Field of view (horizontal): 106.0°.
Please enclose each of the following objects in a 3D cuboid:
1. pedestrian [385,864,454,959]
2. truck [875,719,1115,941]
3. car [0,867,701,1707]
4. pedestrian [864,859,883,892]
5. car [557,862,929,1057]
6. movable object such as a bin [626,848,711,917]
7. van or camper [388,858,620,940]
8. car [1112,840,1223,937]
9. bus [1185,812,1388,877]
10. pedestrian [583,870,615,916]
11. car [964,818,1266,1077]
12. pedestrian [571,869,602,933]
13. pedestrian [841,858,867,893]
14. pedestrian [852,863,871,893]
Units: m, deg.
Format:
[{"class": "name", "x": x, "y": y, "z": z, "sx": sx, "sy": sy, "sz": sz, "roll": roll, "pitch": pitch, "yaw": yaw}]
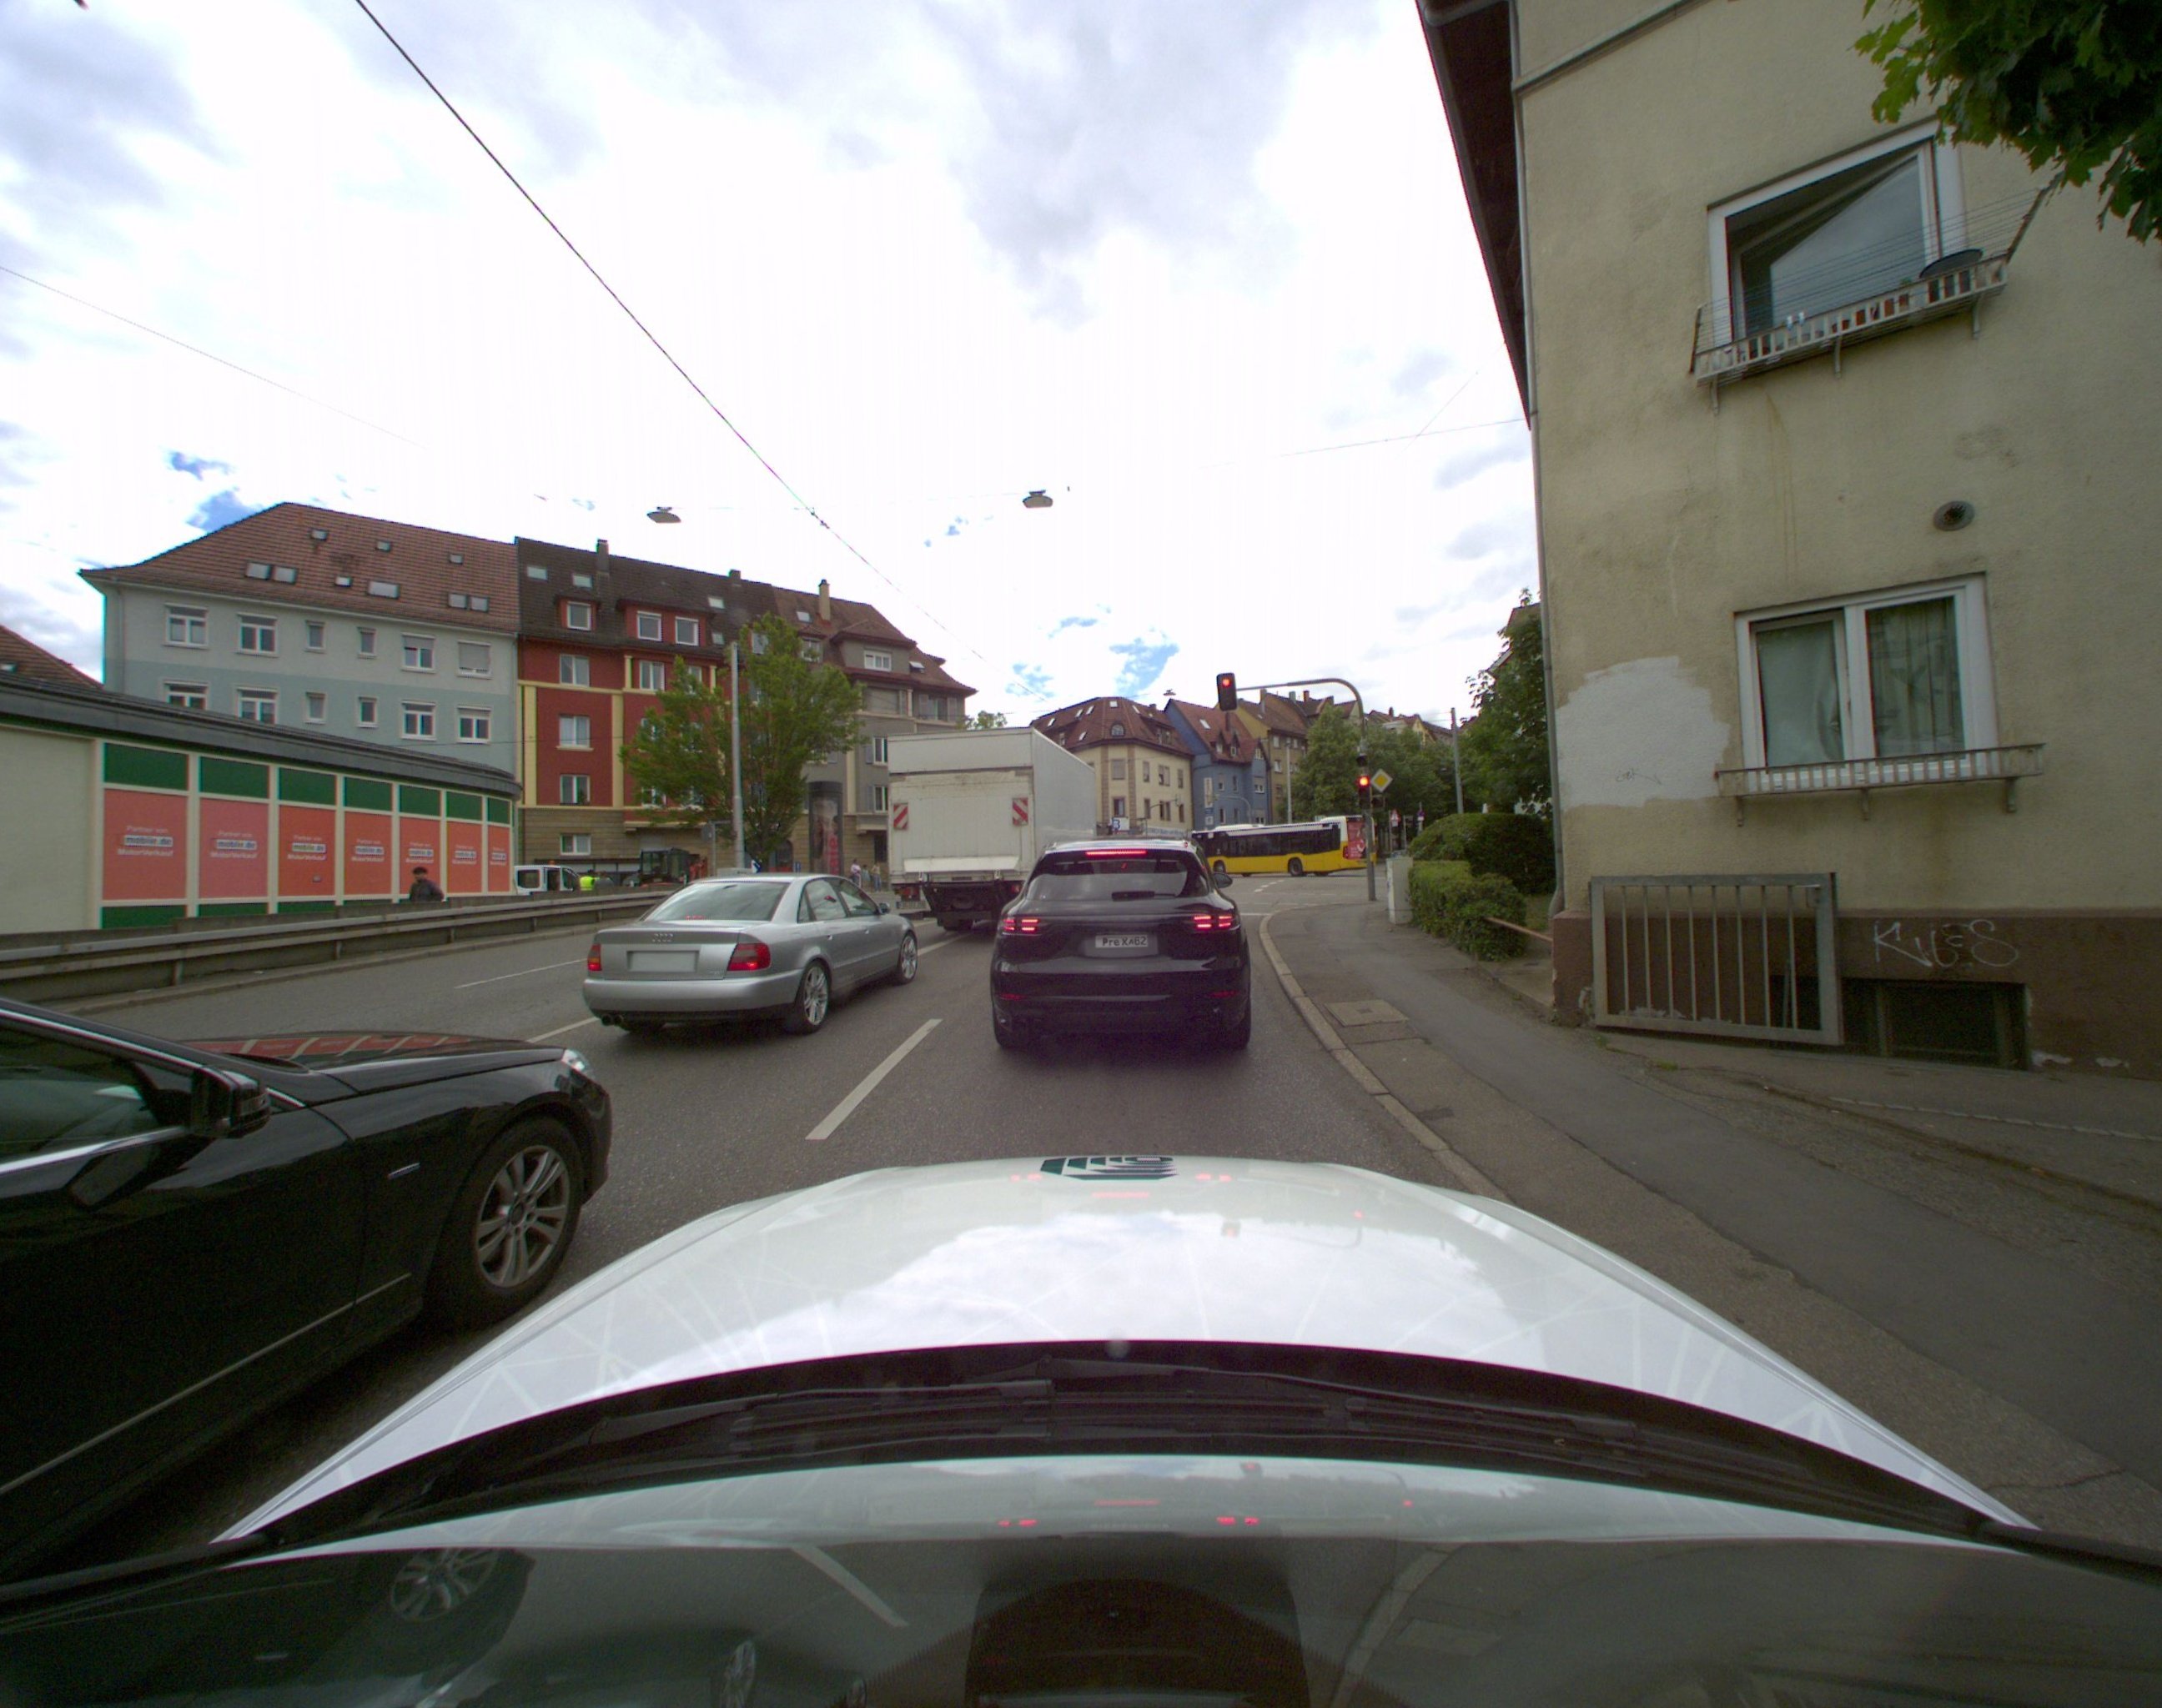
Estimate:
[{"class": "pedestrian", "x": -12.089, "y": 1.025, "z": 14.905, "sx": 0.690, "sy": 1.637, "sz": 0.774, "roll": -2, "pitch": 0, "yaw": -19}, {"class": "truck", "x": -1.277, "y": -0.386, "z": 17.524, "sx": 2.708, "sy": 3.544, "sz": 8.446, "roll": -2, "pitch": 0, "yaw": 10}, {"class": "car", "x": -2.871, "y": 0.815, "z": 1.403, "sx": 1.986, "sy": 1.429, "sz": 4.844, "roll": -2, "pitch": 0, "yaw": 2}, {"class": "pedestrian", "x": -9.657, "y": 0.980, "z": 37.895, "sx": 0.657, "sy": 1.487, "sz": 0.517, "roll": -2, "pitch": 0, "yaw": -40}, {"class": "car", "x": -2.951, "y": 0.827, "z": 8.196, "sx": 1.620, "sy": 1.365, "sz": 4.135, "roll": -2, "pitch": 0, "yaw": 6}, {"class": "movable object such as a bin", "x": -13.147, "y": 0.849, "z": 26.140, "sx": 1.375, "sy": 2.013, "sz": 3.524, "roll": -2, "pitch": 0, "yaw": -10}, {"class": "van or camper", "x": -18.988, "y": 1.392, "z": 27.250, "sx": 6.028, "sy": 2.338, "sz": 2.661, "roll": -1, "pitch": 0, "yaw": -33}, {"class": "car", "x": 1.703, "y": 0.571, "z": 14.946, "sx": 1.638, "sy": 1.556, "sz": 3.595, "roll": -1, "pitch": -1, "yaw": 12}, {"class": "bus", "x": 11.267, "y": -0.379, "z": 46.614, "sx": 3.181, "sy": 3.096, "sz": 12.018, "roll": -2, "pitch": -1, "yaw": -35}, {"class": "pedestrian", "x": -14.754, "y": 1.175, "z": 24.939, "sx": 0.594, "sy": 1.363, "sz": 0.630, "roll": -2, "pitch": 0, "yaw": 35}, {"class": "car", "x": 0.405, "y": 0.624, "z": 7.733, "sx": 2.022, "sy": 1.723, "sz": 4.506, "roll": 0, "pitch": 0, "yaw": 5}, {"class": "pedestrian", "x": -16.299, "y": 1.530, "z": 26.837, "sx": 0.830, "sy": 2.013, "sz": 0.673, "roll": -1, "pitch": 0, "yaw": -33}, {"class": "pedestrian", "x": -10.213, "y": 0.958, "z": 36.718, "sx": 0.785, "sy": 1.546, "sz": 0.743, "roll": -2, "pitch": 0, "yaw": 28}, {"class": "pedestrian", "x": -10.083, "y": 1.098, "z": 37.434, "sx": 0.569, "sy": 1.338, "sz": 0.587, "roll": -2, "pitch": 0, "yaw": 44}]
